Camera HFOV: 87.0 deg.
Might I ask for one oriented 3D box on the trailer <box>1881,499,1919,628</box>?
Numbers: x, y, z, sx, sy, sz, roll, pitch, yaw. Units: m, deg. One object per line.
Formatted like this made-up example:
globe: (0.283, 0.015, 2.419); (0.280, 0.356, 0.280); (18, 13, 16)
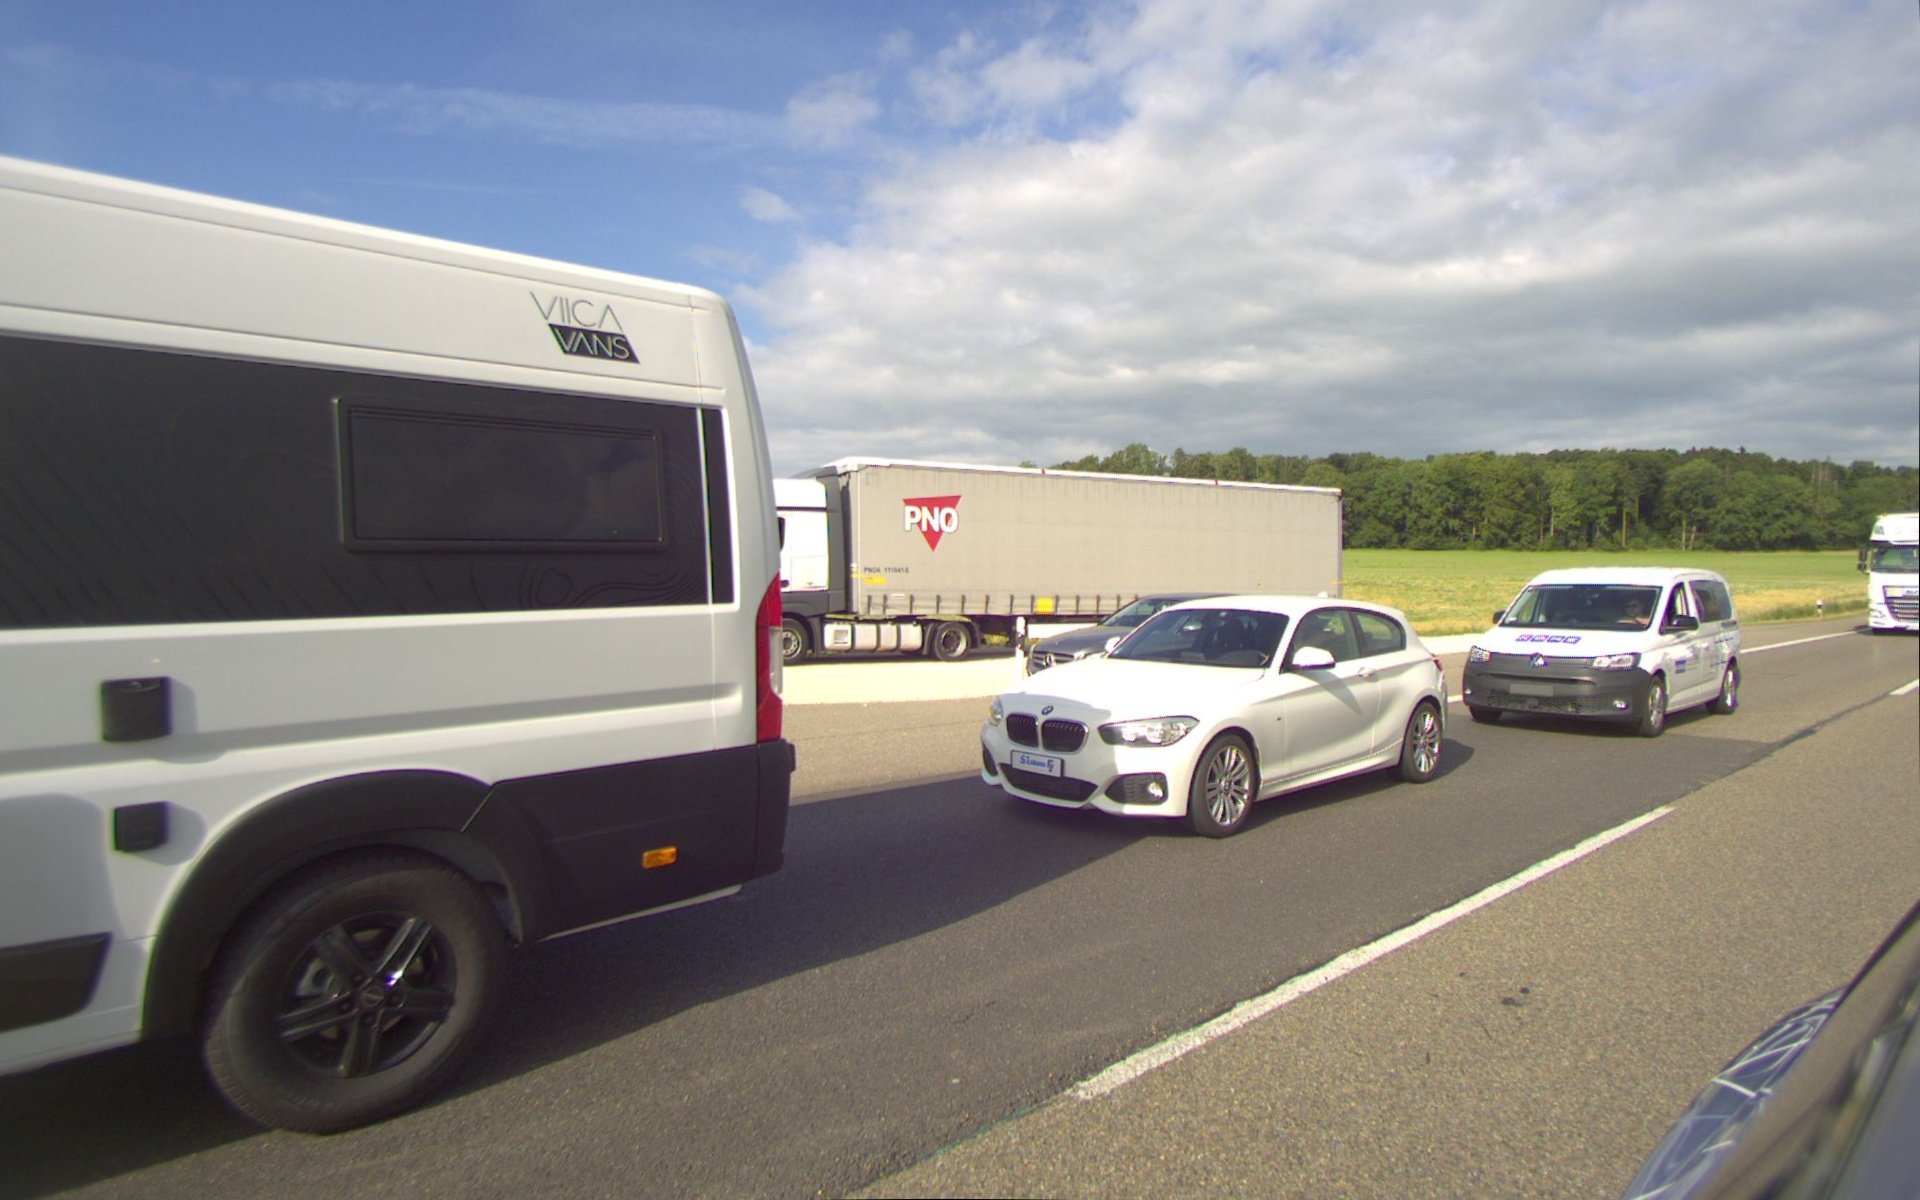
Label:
trailer: (36.874, -1.351, 37.380); (13.778, 4.212, 2.739); (-2, 1, -41)

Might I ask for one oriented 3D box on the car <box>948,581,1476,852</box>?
car: (2.037, 0.599, 7.428); (4.158, 1.450, 1.706); (-1, 1, -41)

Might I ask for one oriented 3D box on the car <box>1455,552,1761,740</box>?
car: (7.634, 0.414, 11.723); (4.620, 1.779, 1.727); (-1, 0, -41)

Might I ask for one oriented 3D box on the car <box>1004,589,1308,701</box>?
car: (2.805, 0.544, 14.232); (4.100, 1.370, 1.710); (-1, 0, -31)

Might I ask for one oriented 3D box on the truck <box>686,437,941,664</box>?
truck: (-3.077, -0.938, 21.112); (4.662, 4.226, 2.727); (0, 0, -26)

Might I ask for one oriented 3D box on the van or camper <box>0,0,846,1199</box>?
van or camper: (-3.462, 0.015, 2.372); (6.223, 2.714, 2.219); (-1, 1, -41)

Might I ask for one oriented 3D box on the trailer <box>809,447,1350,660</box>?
trailer: (3.326, -0.954, 24.227); (13.543, 4.213, 2.748); (0, 0, -26)

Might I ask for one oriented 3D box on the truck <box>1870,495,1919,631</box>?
truck: (32.120, -1.223, 33.185); (5.667, 4.226, 2.733); (-1, 1, -41)
